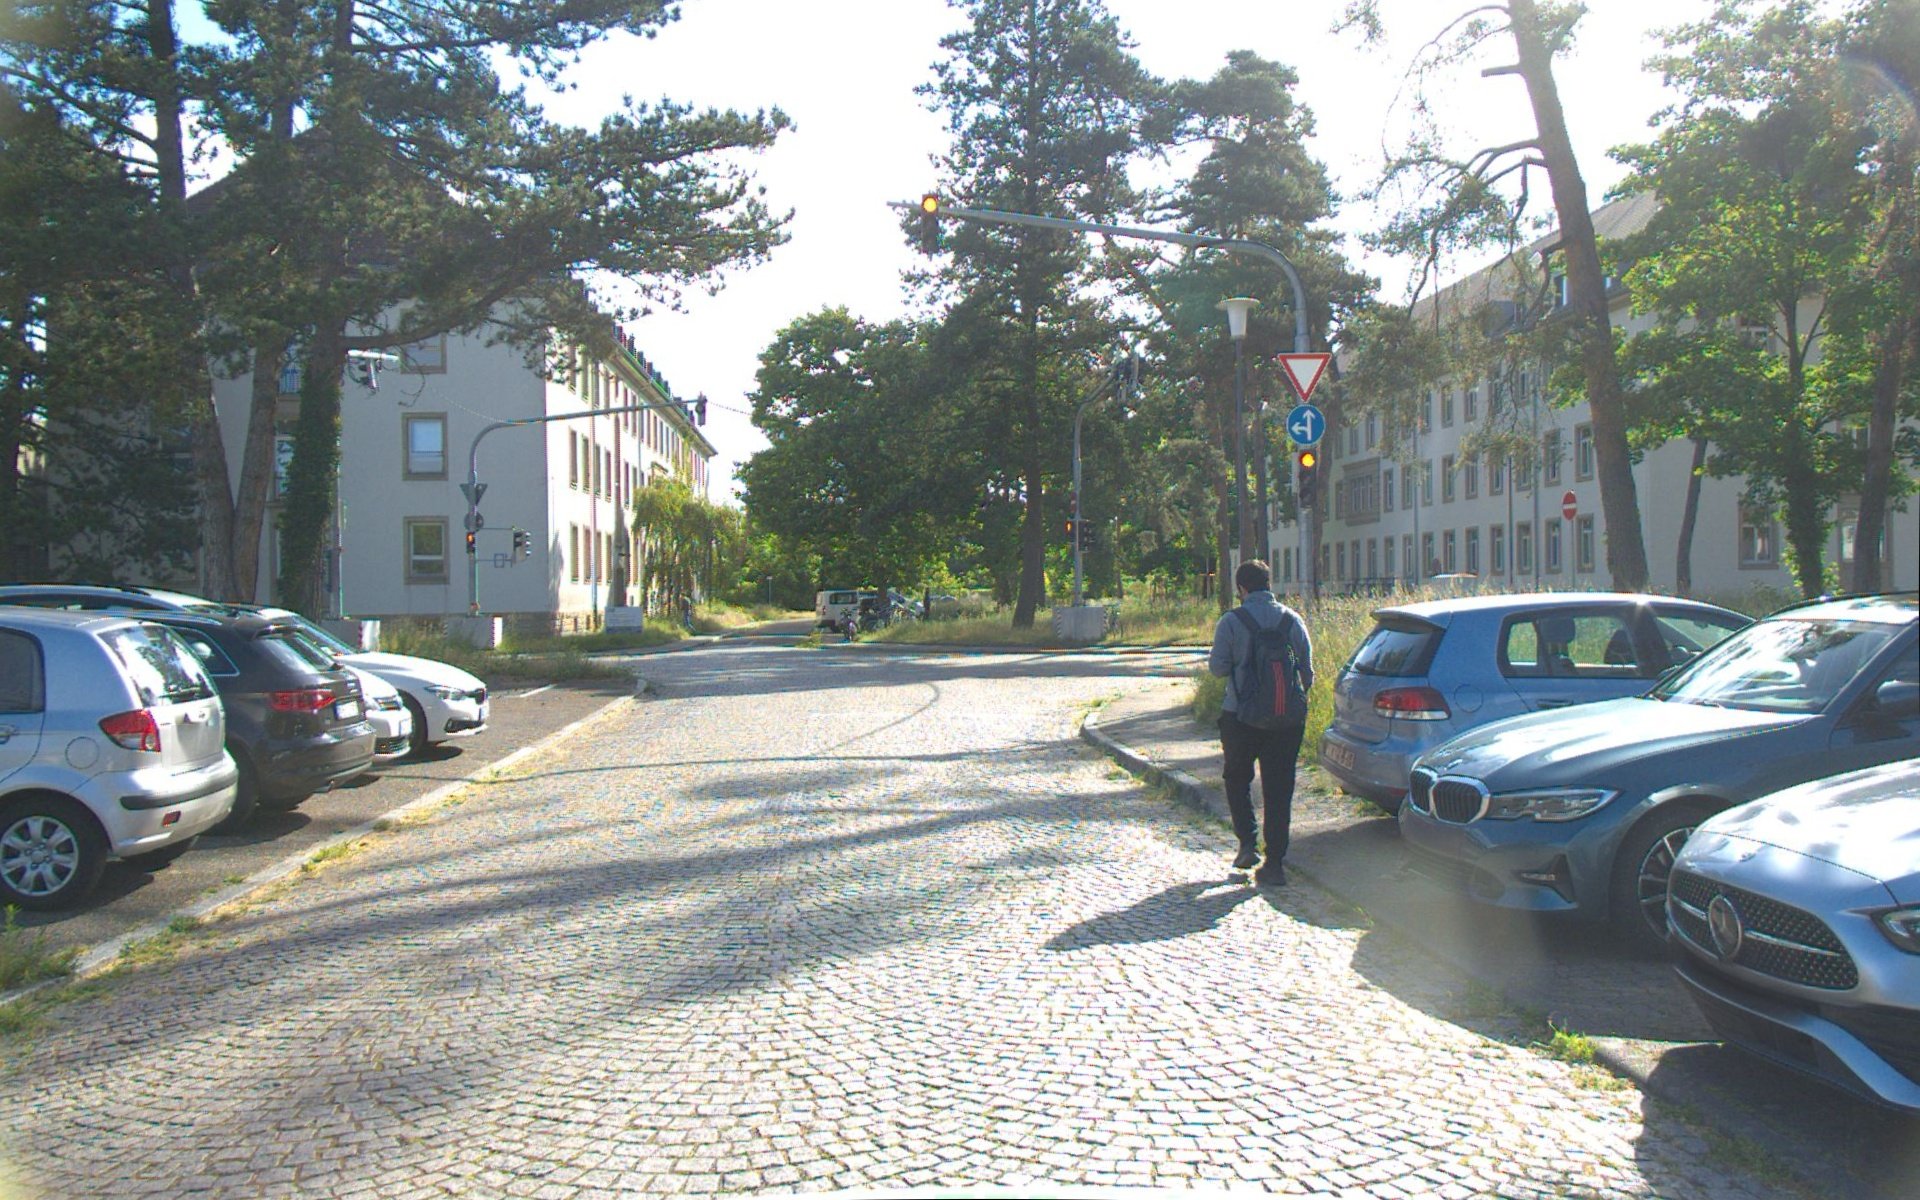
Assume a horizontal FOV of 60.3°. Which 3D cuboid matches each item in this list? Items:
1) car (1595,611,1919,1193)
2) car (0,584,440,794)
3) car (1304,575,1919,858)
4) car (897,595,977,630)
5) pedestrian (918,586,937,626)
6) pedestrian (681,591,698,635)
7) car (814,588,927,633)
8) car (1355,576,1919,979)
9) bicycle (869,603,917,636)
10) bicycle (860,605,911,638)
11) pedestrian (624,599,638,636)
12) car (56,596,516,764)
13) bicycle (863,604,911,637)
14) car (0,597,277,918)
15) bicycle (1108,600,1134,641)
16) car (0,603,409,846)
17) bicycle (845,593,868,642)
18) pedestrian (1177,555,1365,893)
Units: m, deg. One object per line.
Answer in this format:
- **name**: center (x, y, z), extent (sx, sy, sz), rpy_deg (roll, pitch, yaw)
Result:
- **car**: center (4.494, 0.709, 5.173), extent (4.314, 1.413, 1.787), rpy_deg (-2, 0, -5)
- **car**: center (-6.635, 0.729, 14.243), extent (3.804, 1.643, 1.659), rpy_deg (1, 0, -6)
- **car**: center (4.197, 0.663, 10.467), extent (3.601, 1.468, 1.664), rpy_deg (-3, 0, -4)
- **car**: center (-1.131, 0.593, 80.895), extent (3.677, 1.607, 1.736), rpy_deg (-1, 0, -12)
- **pedestrian**: center (-1.475, 0.286, 75.475), extent (0.746, 1.815, 0.682), rpy_deg (-1, 0, -12)
- **pedestrian**: center (-11.049, 0.536, 67.520), extent (0.597, 1.783, 0.627), rpy_deg (-1, 0, -19)
- **car**: center (-4.177, 0.482, 76.814), extent (4.980, 1.951, 1.993), rpy_deg (-1, 0, -14)
- **car**: center (4.424, 0.665, 7.906), extent (4.532, 1.481, 1.867), rpy_deg (-3, 0, -7)
- **bicycle**: center (-2.448, 0.703, 60.237), extent (1.695, 1.185, 0.560), rpy_deg (-1, 0, -8)
- **bicycle**: center (-2.659, 0.747, 58.992), extent (1.799, 1.132, 0.494), rpy_deg (-1, 0, -8)
- **pedestrian**: center (-14.329, 0.745, 72.060), extent (0.596, 1.587, 0.544), rpy_deg (-1, 0, -11)
- **car**: center (-6.739, 0.770, 16.833), extent (3.905, 1.522, 1.773), rpy_deg (1, 0, 0)
- **bicycle**: center (-2.631, 0.745, 59.540), extent (1.695, 1.132, 0.483), rpy_deg (-1, 0, -8)
- **car**: center (-5.819, 0.756, 8.862), extent (3.615, 1.554, 1.697), rpy_deg (1, 0, -7)
- **bicycle**: center (4.639, 0.582, 47.624), extent (0.706, 1.134, 2.585), rpy_deg (-1, 0, 5)
- **car**: center (-6.058, 0.798, 11.511), extent (3.861, 1.470, 1.689), rpy_deg (2, 0, -6)
- **bicycle**: center (-3.506, 0.566, 55.876), extent (0.738, 1.608, 2.534), rpy_deg (-1, 0, -5)
- **pedestrian**: center (1.709, 0.659, 9.199), extent (0.738, 1.755, 0.828), rpy_deg (4, 0, -5)
